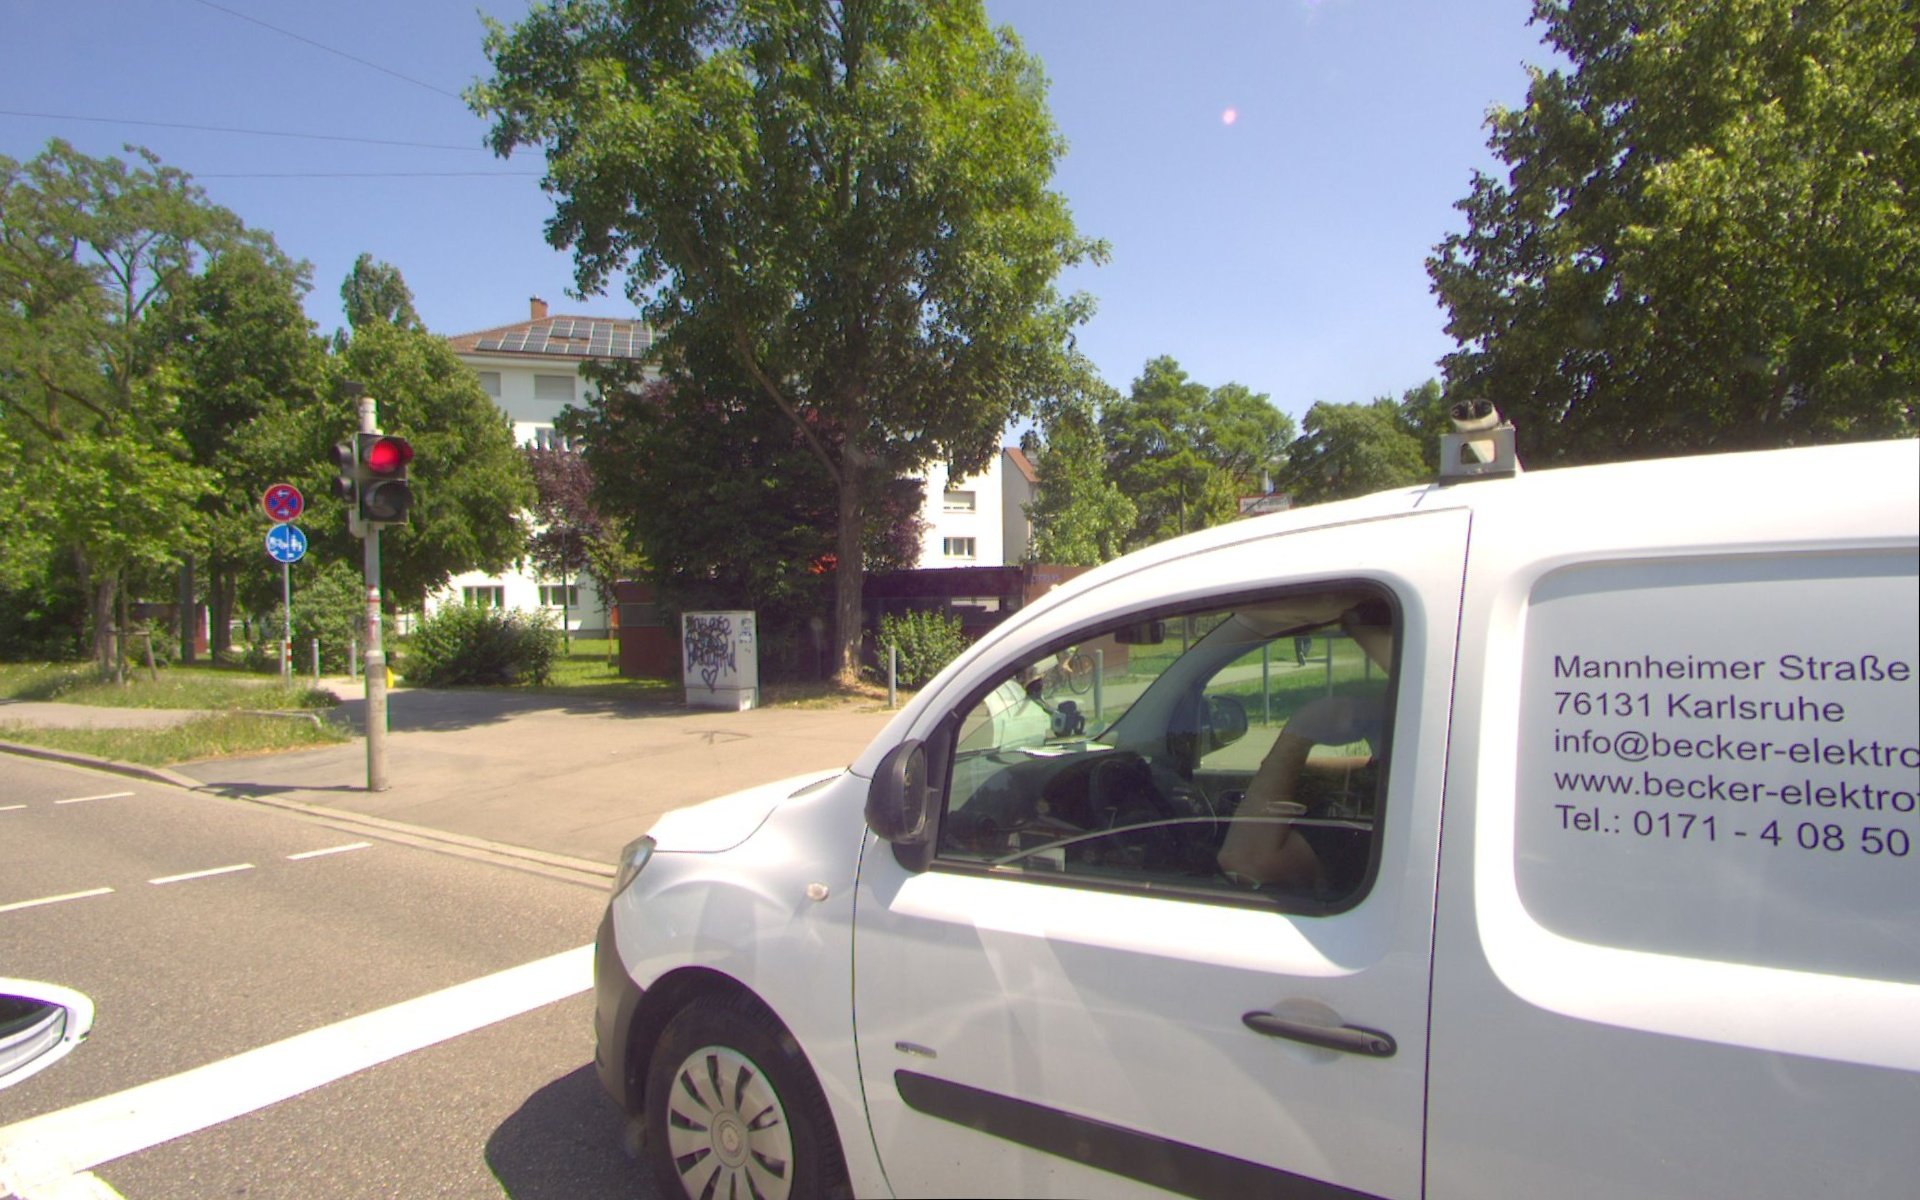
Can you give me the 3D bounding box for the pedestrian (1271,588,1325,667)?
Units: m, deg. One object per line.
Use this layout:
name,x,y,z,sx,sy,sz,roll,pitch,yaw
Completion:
pedestrian,8.012,0.649,23.716,0.829,1.801,1.180,-2,1,36

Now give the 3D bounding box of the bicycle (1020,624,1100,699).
bicycle,1.700,0.991,16.792,0.533,1.176,1.954,0,-1,32

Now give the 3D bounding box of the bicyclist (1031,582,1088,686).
bicyclist,1.672,0.556,16.728,0.572,1.689,0.955,0,0,32

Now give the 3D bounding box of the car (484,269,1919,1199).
car,1.124,0.564,2.305,4.384,1.850,1.990,-1,0,32
